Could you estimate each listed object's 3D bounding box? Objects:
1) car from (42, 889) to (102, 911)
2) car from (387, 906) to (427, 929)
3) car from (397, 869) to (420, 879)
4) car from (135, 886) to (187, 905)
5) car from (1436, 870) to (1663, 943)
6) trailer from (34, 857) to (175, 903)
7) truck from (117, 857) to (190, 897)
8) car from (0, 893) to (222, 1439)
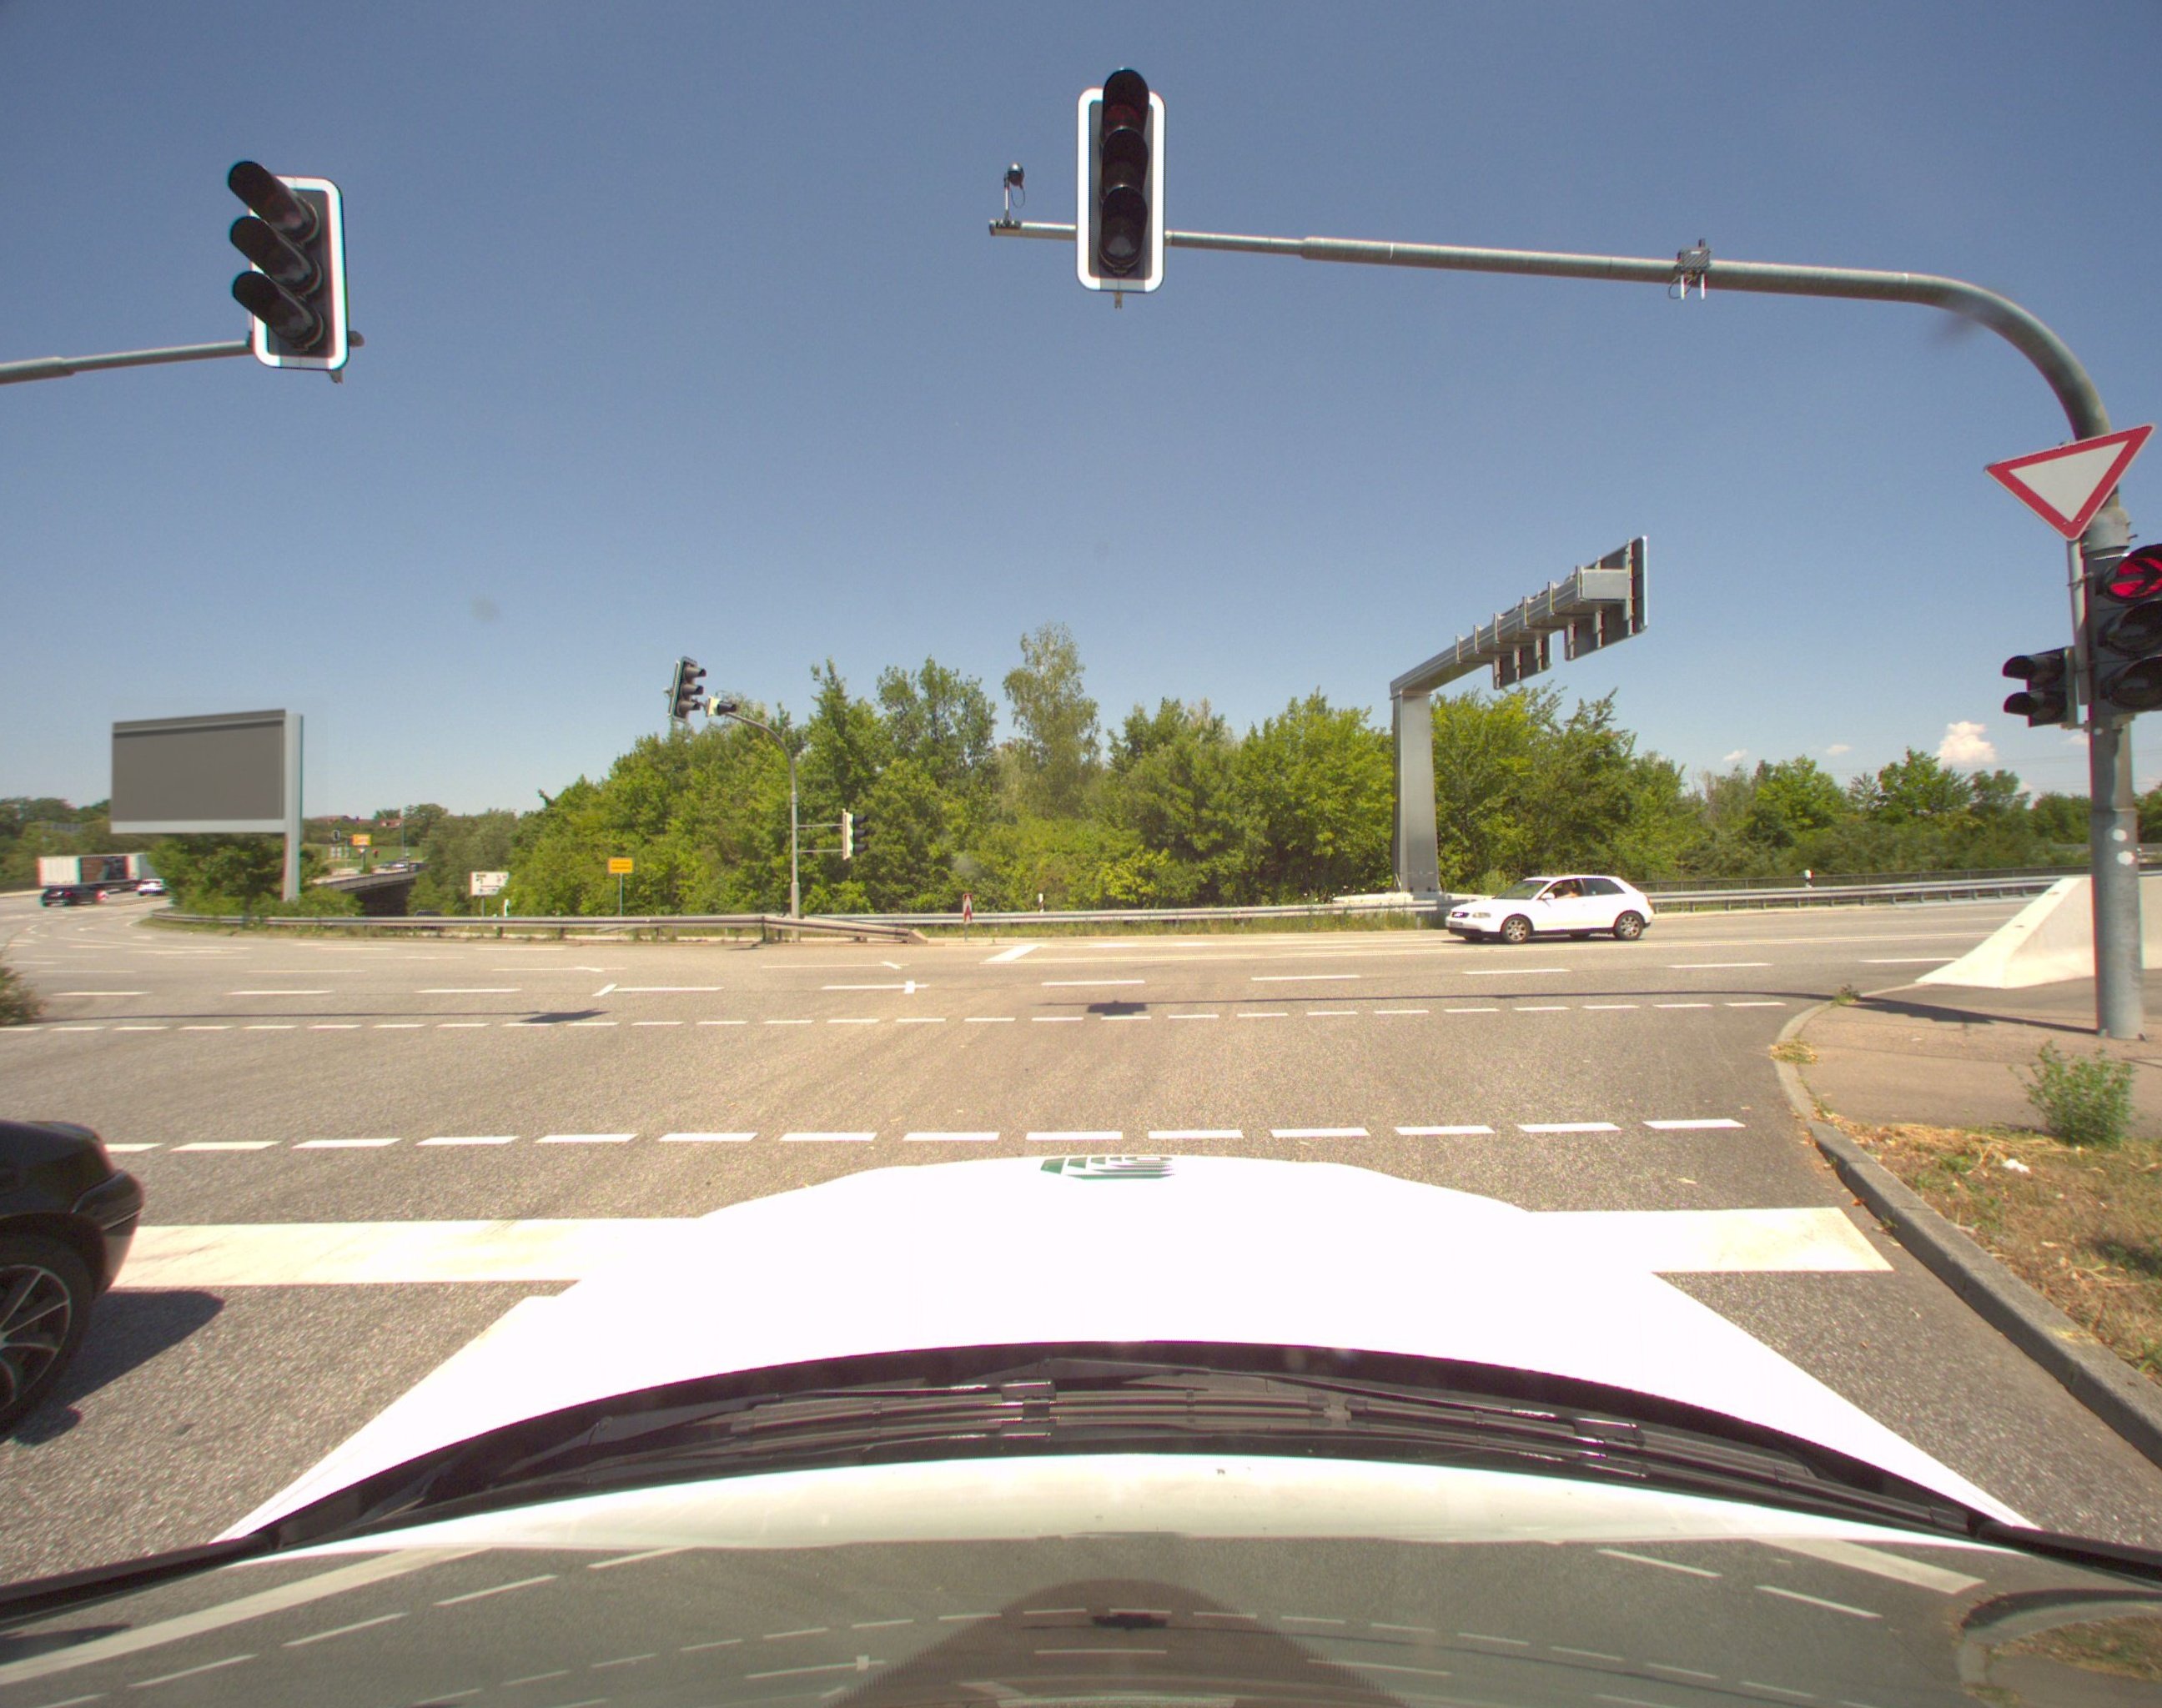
[{"bbox_3d":[-86.292,3.881,69.709,1.888,1.622,3.963,0,0,-29],"label":"car"},{"bbox_3d":[-44.843,4.189,54.143,1.821,1.434,4.359,3,-5,-42],"label":"car"},{"bbox_3d":[-128.484,3.821,155.690,1.772,1.674,3.772,-1,0,-11],"label":"car"},{"bbox_3d":[-92.296,4.131,81.756,1.937,1.665,3.969,0,0,-23],"label":"car"},{"bbox_3d":[9.986,1.120,17.523,3.971,1.396,1.643,-1,-4,-5],"label":"car"},{"bbox_3d":[-101.550,2.530,85.255,3.248,4.248,15.279,0,0,-25],"label":"trailer"},{"bbox_3d":[-104.761,2.529,92.129,3.248,4.248,6.185,0,0,-25],"label":"truck"},{"bbox_3d":[-3.611,0.832,1.024,1.615,1.407,3.297,-1,-1,-2],"label":"car"}]
